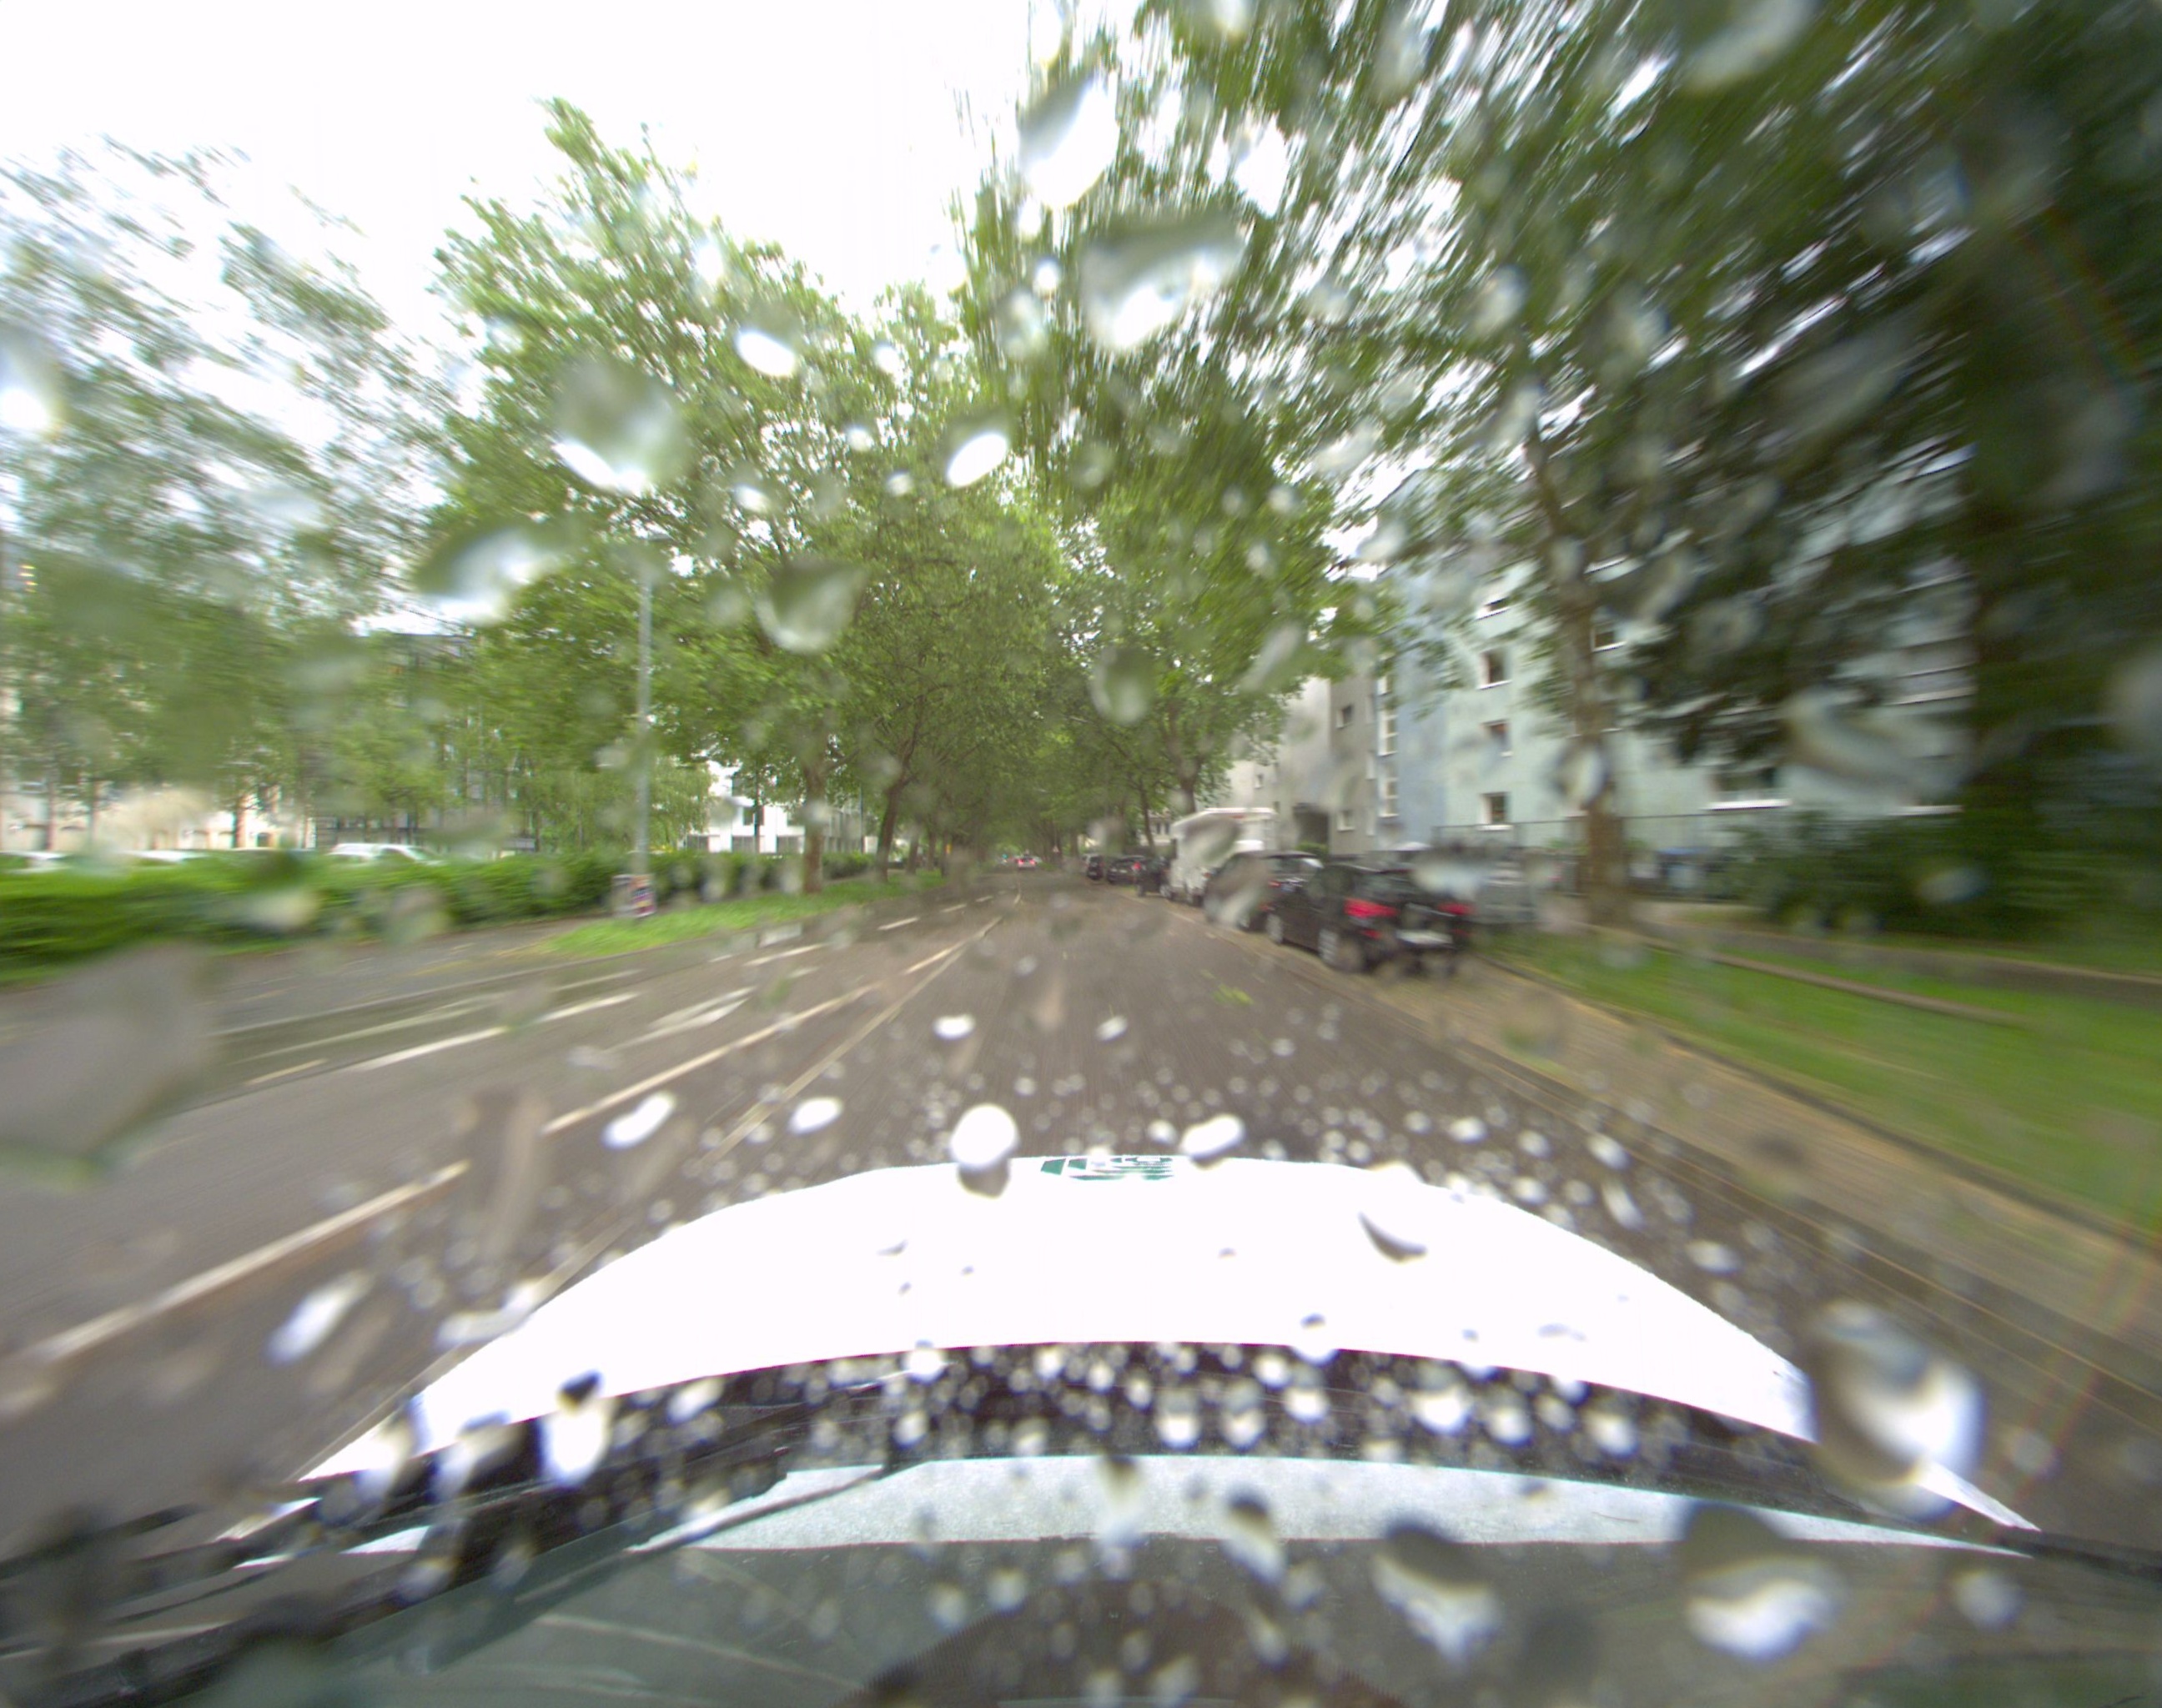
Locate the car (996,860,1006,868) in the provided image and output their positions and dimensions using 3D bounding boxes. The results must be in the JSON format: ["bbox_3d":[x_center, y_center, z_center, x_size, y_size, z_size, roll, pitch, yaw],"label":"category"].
[{"bbox_3d":[-15.116,1.849,154.347,1.676,1.388,4.542,-1,0,-4],"label":"car"}]

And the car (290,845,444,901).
[{"bbox_3d":[-27.253,0.679,31.197,3.979,2.013,1.997,-1,0,-5],"label":"car"}]

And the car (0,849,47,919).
[{"bbox_3d":[-26.710,0.666,18.415,3.980,1.599,1.851,1,0,-5],"label":"car"}]

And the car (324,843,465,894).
[{"bbox_3d":[-28.216,0.570,33.583,3.979,2.013,1.997,-1,0,-5],"label":"car"}]

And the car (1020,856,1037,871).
[{"bbox_3d":[-5.620,1.001,86.311,1.703,1.411,3.638,-2,0,-5],"label":"car"}]

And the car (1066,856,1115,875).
[{"bbox_3d":[0.797,0.991,71.537,4.033,1.441,1.681,-2,0,-8],"label":"car"}]

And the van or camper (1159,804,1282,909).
[{"bbox_3d":[4.057,0.079,25.187,2.314,2.807,6.856,0,0,-3],"label":"van or camper"}]

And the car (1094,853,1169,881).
[{"bbox_3d":[3.029,0.773,48.408,4.014,1.601,2.015,1,0,-32],"label":"car"}]

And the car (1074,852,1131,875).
[{"bbox_3d":[1.692,0.715,64.586,4.331,1.762,1.815,1,0,-5],"label":"car"}]

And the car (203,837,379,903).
[{"bbox_3d":[-27.149,0.510,28.114,3.979,2.133,1.997,-1,0,-4],"label":"car"}]

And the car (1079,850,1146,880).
[{"bbox_3d":[2.008,0.643,51.339,3.882,1.697,1.819,-3,2,-33],"label":"car"}]

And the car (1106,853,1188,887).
[{"bbox_3d":[3.305,0.784,40.595,3.784,1.601,1.784,1,0,-35],"label":"car"}]

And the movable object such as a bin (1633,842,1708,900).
[{"bbox_3d":[16.011,0.442,22.126,1.163,1.473,1.214,-3,1,-23],"label":"movable object such as a bin"}]

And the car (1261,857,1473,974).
[{"bbox_3d":[3.981,0.765,12.070,1.545,1.390,4.146,1,0,-2],"label":"car"}]

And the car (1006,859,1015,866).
[{"bbox_3d":[-14.656,1.710,169.365,1.703,1.411,3.638,-2,0,-5],"label":"car"}]

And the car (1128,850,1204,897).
[{"bbox_3d":[3.126,0.705,30.517,1.693,1.652,2.926,1,0,-21],"label":"car"}]

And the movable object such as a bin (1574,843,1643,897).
[{"bbox_3d":[15.372,0.433,23.760,1.163,1.473,1.214,-3,1,-23],"label":"movable object such as a bin"}]

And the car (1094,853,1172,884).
[{"bbox_3d":[2.846,0.753,44.251,4.016,1.601,1.783,1,0,-35],"label":"car"}]

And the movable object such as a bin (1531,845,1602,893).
[{"bbox_3d":[15.015,0.437,25.220,1.322,1.432,1.360,1,0,-23],"label":"movable object such as a bin"}]

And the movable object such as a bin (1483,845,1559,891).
[{"bbox_3d":[14.426,0.435,26.750,1.218,1.432,1.849,1,0,-23],"label":"movable object such as a bin"}]

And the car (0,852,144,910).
[{"bbox_3d":[-26.793,0.673,20.549,3.977,1.374,1.884,-1,0,-3],"label":"car"}]

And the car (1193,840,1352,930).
[{"bbox_3d":[3.824,0.626,17.098,1.913,1.620,4.444,1,-2,-6],"label":"car"}]

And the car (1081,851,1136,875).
[{"bbox_3d":[2.016,0.688,61.097,3.980,1.727,1.798,1,0,-5],"label":"car"}]

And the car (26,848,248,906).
[{"bbox_3d":[-26.862,0.642,23.305,3.977,1.551,1.884,0,0,-3],"label":"car"}]
